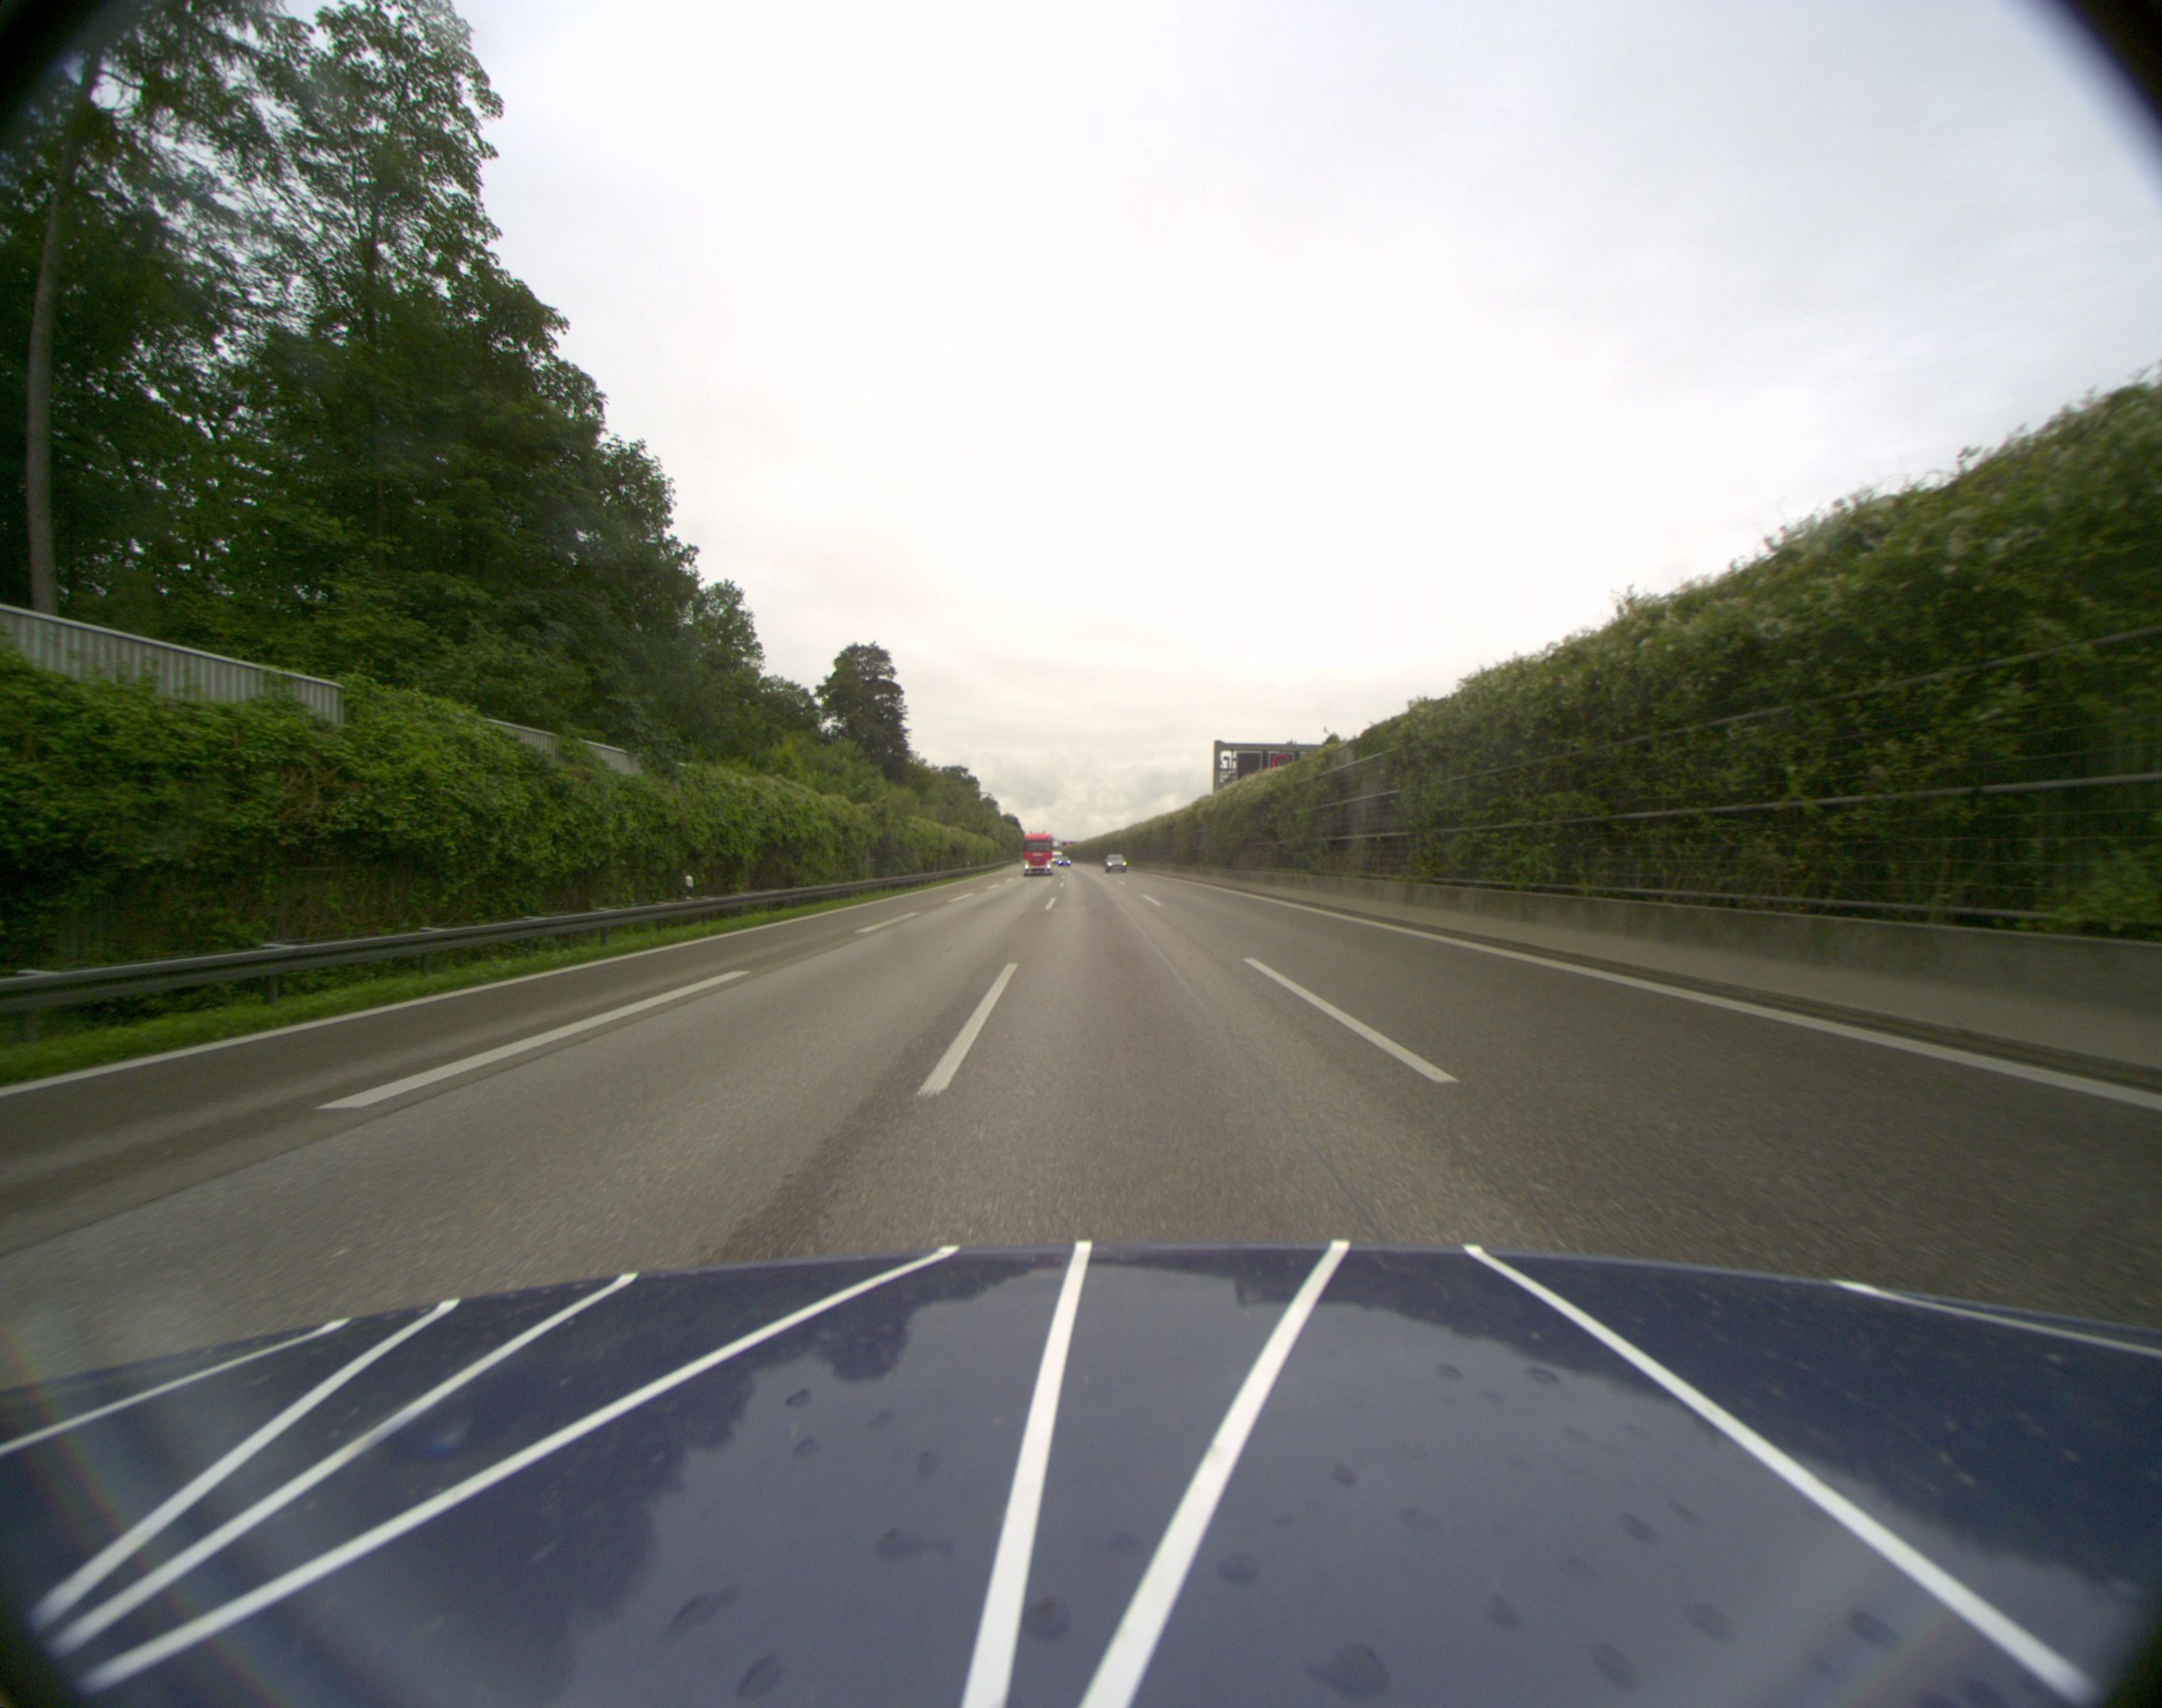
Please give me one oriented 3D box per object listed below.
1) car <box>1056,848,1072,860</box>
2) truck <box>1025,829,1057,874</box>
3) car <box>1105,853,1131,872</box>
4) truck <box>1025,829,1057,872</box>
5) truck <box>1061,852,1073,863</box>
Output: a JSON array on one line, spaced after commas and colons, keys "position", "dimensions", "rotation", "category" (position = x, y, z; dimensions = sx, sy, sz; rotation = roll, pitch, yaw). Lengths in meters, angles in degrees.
[{"position": [-3.275, -0.033, 145.819], "dimensions": [2.770, 2.227, 6.543], "rotation": [-1, 1, -3], "category": "car"}, {"position": [-3.491, -0.246, 66.685], "dimensions": [2.709, 3.809, 4.196], "rotation": [-1, 2, -2], "category": "truck"}, {"position": [3.518, 0.799, 73.144], "dimensions": [2.023, 1.595, 5.437], "rotation": [-2, 1, -2], "category": "car"}, {"position": [-3.700, -0.427, 71.477], "dimensions": [2.709, 3.690, 9.836], "rotation": [-1, 2, -2], "category": "truck"}, {"position": [-2.193, 0.547, 121.506], "dimensions": [1.825, 1.535, 3.998], "rotation": [-1, 2, -2], "category": "truck"}]
